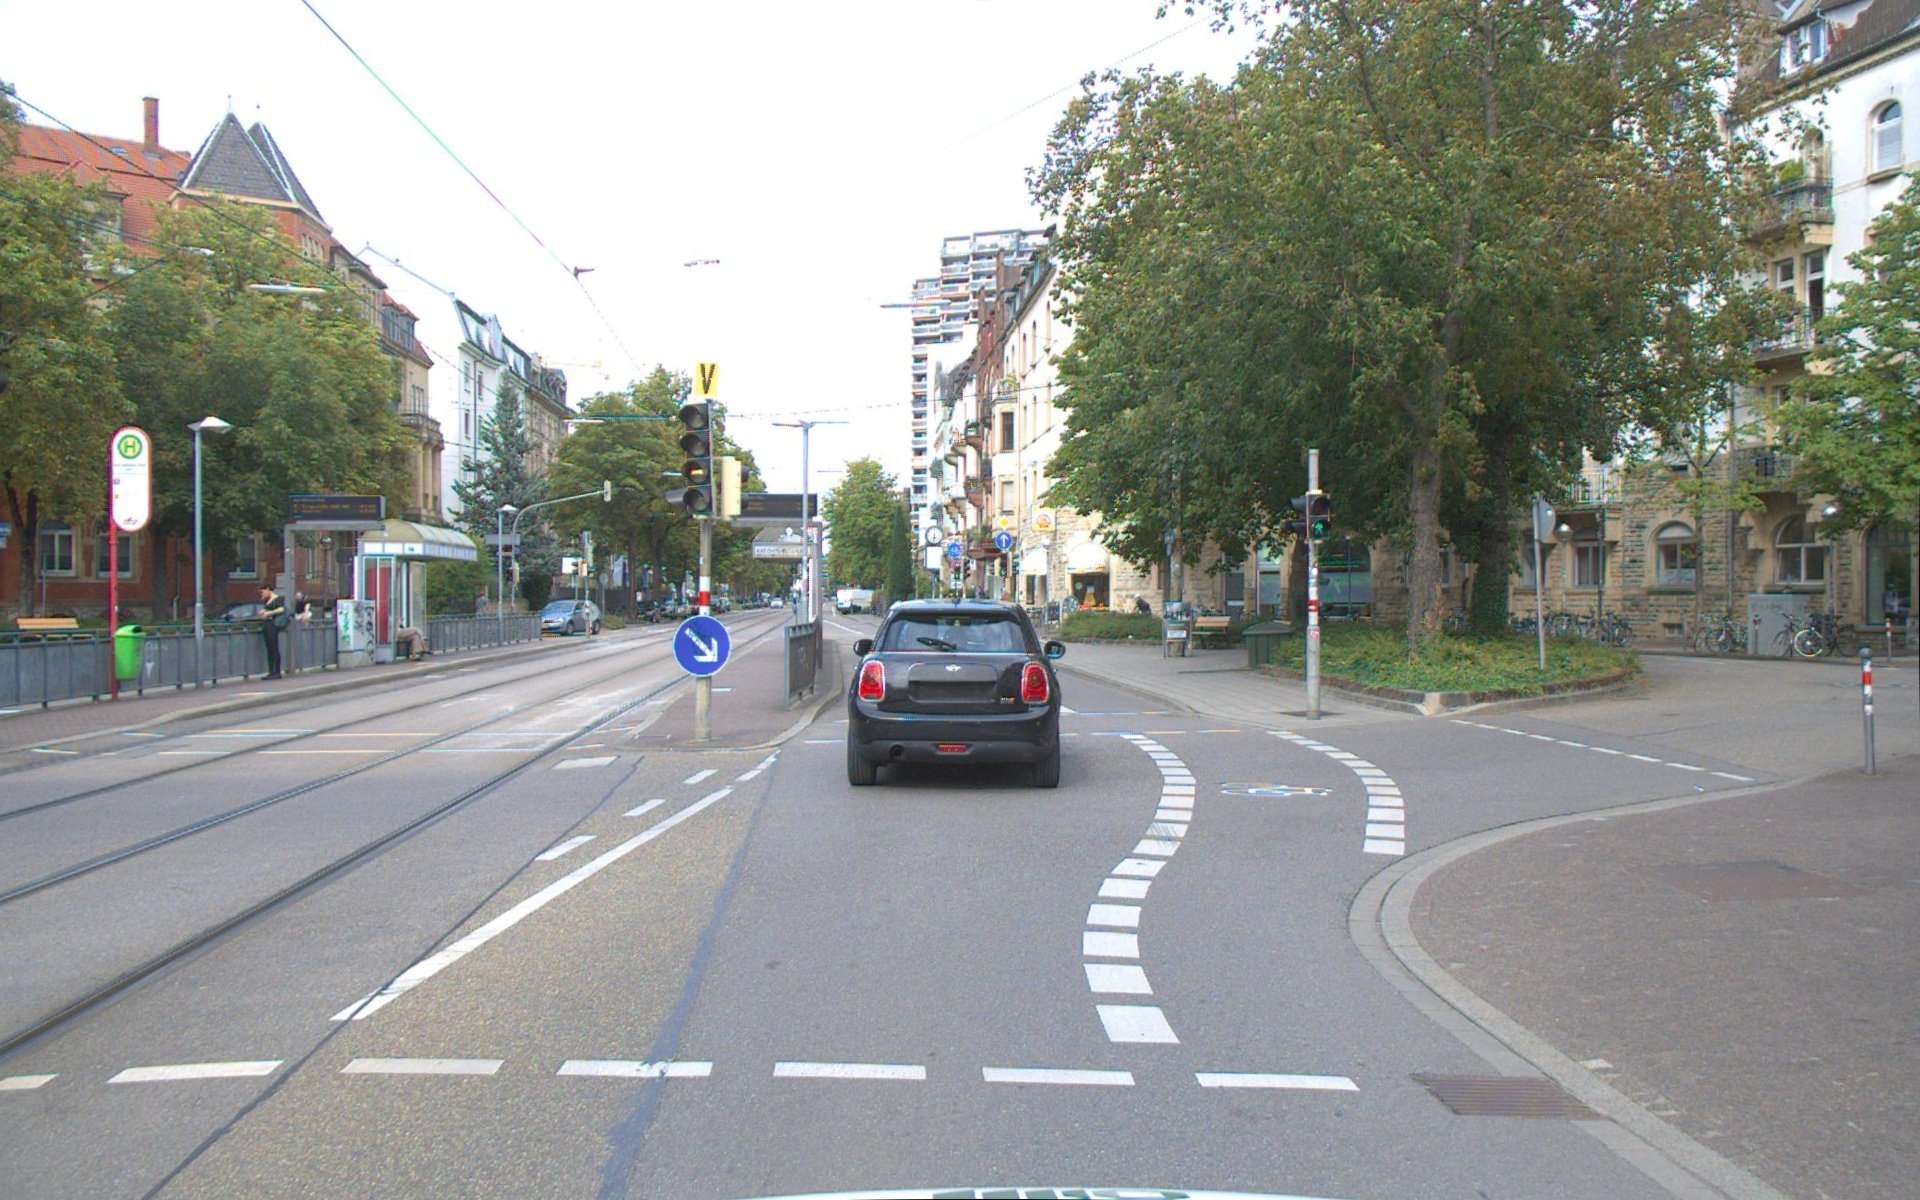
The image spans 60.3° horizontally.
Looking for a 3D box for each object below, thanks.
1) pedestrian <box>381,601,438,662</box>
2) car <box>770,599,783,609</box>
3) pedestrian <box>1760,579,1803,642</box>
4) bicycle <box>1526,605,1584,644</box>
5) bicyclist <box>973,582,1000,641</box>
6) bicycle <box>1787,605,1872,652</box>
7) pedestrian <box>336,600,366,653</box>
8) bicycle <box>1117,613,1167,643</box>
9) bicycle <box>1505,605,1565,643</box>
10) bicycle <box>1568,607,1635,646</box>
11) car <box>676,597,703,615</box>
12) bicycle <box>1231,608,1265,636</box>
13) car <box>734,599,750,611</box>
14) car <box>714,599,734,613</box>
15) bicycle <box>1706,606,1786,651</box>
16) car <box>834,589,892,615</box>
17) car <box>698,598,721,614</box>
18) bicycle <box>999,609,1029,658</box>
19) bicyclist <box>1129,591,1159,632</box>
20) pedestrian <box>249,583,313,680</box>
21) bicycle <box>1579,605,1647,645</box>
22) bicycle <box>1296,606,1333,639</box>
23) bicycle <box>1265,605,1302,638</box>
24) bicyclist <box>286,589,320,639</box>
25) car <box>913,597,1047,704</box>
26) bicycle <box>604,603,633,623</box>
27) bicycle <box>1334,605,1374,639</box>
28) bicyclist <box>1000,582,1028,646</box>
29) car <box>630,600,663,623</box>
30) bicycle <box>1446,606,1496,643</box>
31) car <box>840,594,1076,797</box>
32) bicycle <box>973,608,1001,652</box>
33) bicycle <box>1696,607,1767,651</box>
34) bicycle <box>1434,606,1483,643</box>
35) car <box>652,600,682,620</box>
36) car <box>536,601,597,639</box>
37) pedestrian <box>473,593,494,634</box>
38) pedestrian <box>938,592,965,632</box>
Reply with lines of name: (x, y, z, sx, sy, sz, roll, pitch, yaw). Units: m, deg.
pedestrian: (-12.139, 0.692, 36.526, 1.039, 1.316, 0.984, 0, 0, -10)
car: (-26.469, 0.594, 238.286, 1.732, 1.420, 3.996, 0, 0, -5)
pedestrian: (22.746, 0.284, 45.815, 0.717, 1.705, 0.833, 0, 0, -11)
bicycle: (18.384, 0.748, 51.118, 1.865, 1.147, 0.589, 0, 0, -28)
bicyclist: (0.733, 0.313, 45.734, 0.670, 1.591, 0.998, -1, 0, -2)
bicycle: (21.372, 0.692, 40.668, 1.850, 1.147, 0.532, 0, 0, -4)
pedestrian: (-20.262, 0.869, 55.039, 0.817, 1.733, 0.731, 0, 0, -10)
bicycle: (6.709, 1.021, 60.965, 1.784, 1.095, 0.614, 0, 0, 36)
bicycle: (18.034, 0.746, 51.851, 1.861, 1.147, 0.579, 0, 0, -22)
bicycle: (19.152, 0.785, 49.375, 1.852, 1.147, 0.532, 0, 0, -8)
car: (-23.671, 0.539, 145.041, 1.954, 1.579, 3.997, 0, 0, -4)
bicycle: (10.601, 0.803, 60.803, 0.522, 0.989, 1.642, 0, 0, 37)
car: (-29.030, 0.660, 220.217, 1.954, 1.579, 3.997, 0, 0, -4)
car: (-26.272, 0.667, 184.127, 1.954, 1.579, 3.997, 0, 0, -4)
bicycle: (20.753, 0.748, 43.668, 1.848, 1.147, 0.533, 0, 0, 1)
car: (-8.897, 0.152, 151.710, 2.357, 2.312, 5.003, 0, 0, 45)
car: (-25.405, 0.616, 167.925, 1.954, 1.579, 3.997, 0, 0, -4)
bicycle: (1.346, 0.827, 41.419, 0.586, 1.190, 1.695, -1, 0, -4)
bicyclist: (6.773, 0.429, 60.917, 0.897, 1.498, 0.614, 0, 0, 36)
pedestrian: (-11.721, 0.539, 28.566, 0.836, 1.649, 0.841, 0, 0, -10)
bicycle: (19.274, 0.724, 48.798, 1.852, 1.147, 0.532, 0, 0, -8)
bicycle: (12.600, 0.796, 58.719, 0.522, 1.147, 1.885, 0, 0, 37)
bicycle: (11.633, 0.766, 59.499, 0.522, 1.147, 1.885, 0, 0, 37)
bicyclist: (-18.233, 0.384, 45.942, 0.647, 1.363, 0.835, 0, 0, -4)
car: (0.234, 0.727, 25.968, 1.888, 1.536, 3.998, 0, 0, -2)
bicycle: (-20.448, 0.772, 98.972, 1.659, 1.138, 0.564, -1, 0, -44)
bicycle: (13.711, 0.741, 57.584, 0.654, 1.147, 1.885, 0, 0, 37)
bicyclist: (1.340, 0.347, 41.416, 0.583, 1.577, 1.013, -1, 0, -4)
car: (-20.161, 0.718, 106.484, 1.732, 1.420, 3.996, 0, 0, -5)
bicycle: (16.738, 0.785, 54.115, 1.872, 1.147, 0.526, -2, 1, -36)
car: (-0.037, 0.706, 14.256, 1.716, 1.466, 3.999, 1, 0, -1)
bicycle: (0.733, 0.820, 45.790, 0.670, 1.190, 1.696, -1, 0, -2)
bicycle: (20.799, 0.782, 44.577, 1.857, 1.147, 0.530, 0, 0, -16)
bicycle: (16.449, 0.792, 54.579, 1.872, 1.147, 0.526, -1, 1, -36)
car: (-20.959, 0.698, 118.474, 1.732, 1.420, 3.996, 0, 0, -5)
car: (-16.427, 0.819, 69.224, 1.717, 1.466, 3.998, 1, 0, -3)
pedestrian: (-21.044, 0.601, 73.011, 0.716, 1.815, 0.834, 0, 0, -4)
pedestrian: (-0.368, 0.519, 71.958, 0.720, 1.703, 0.830, -3, 0, 42)
